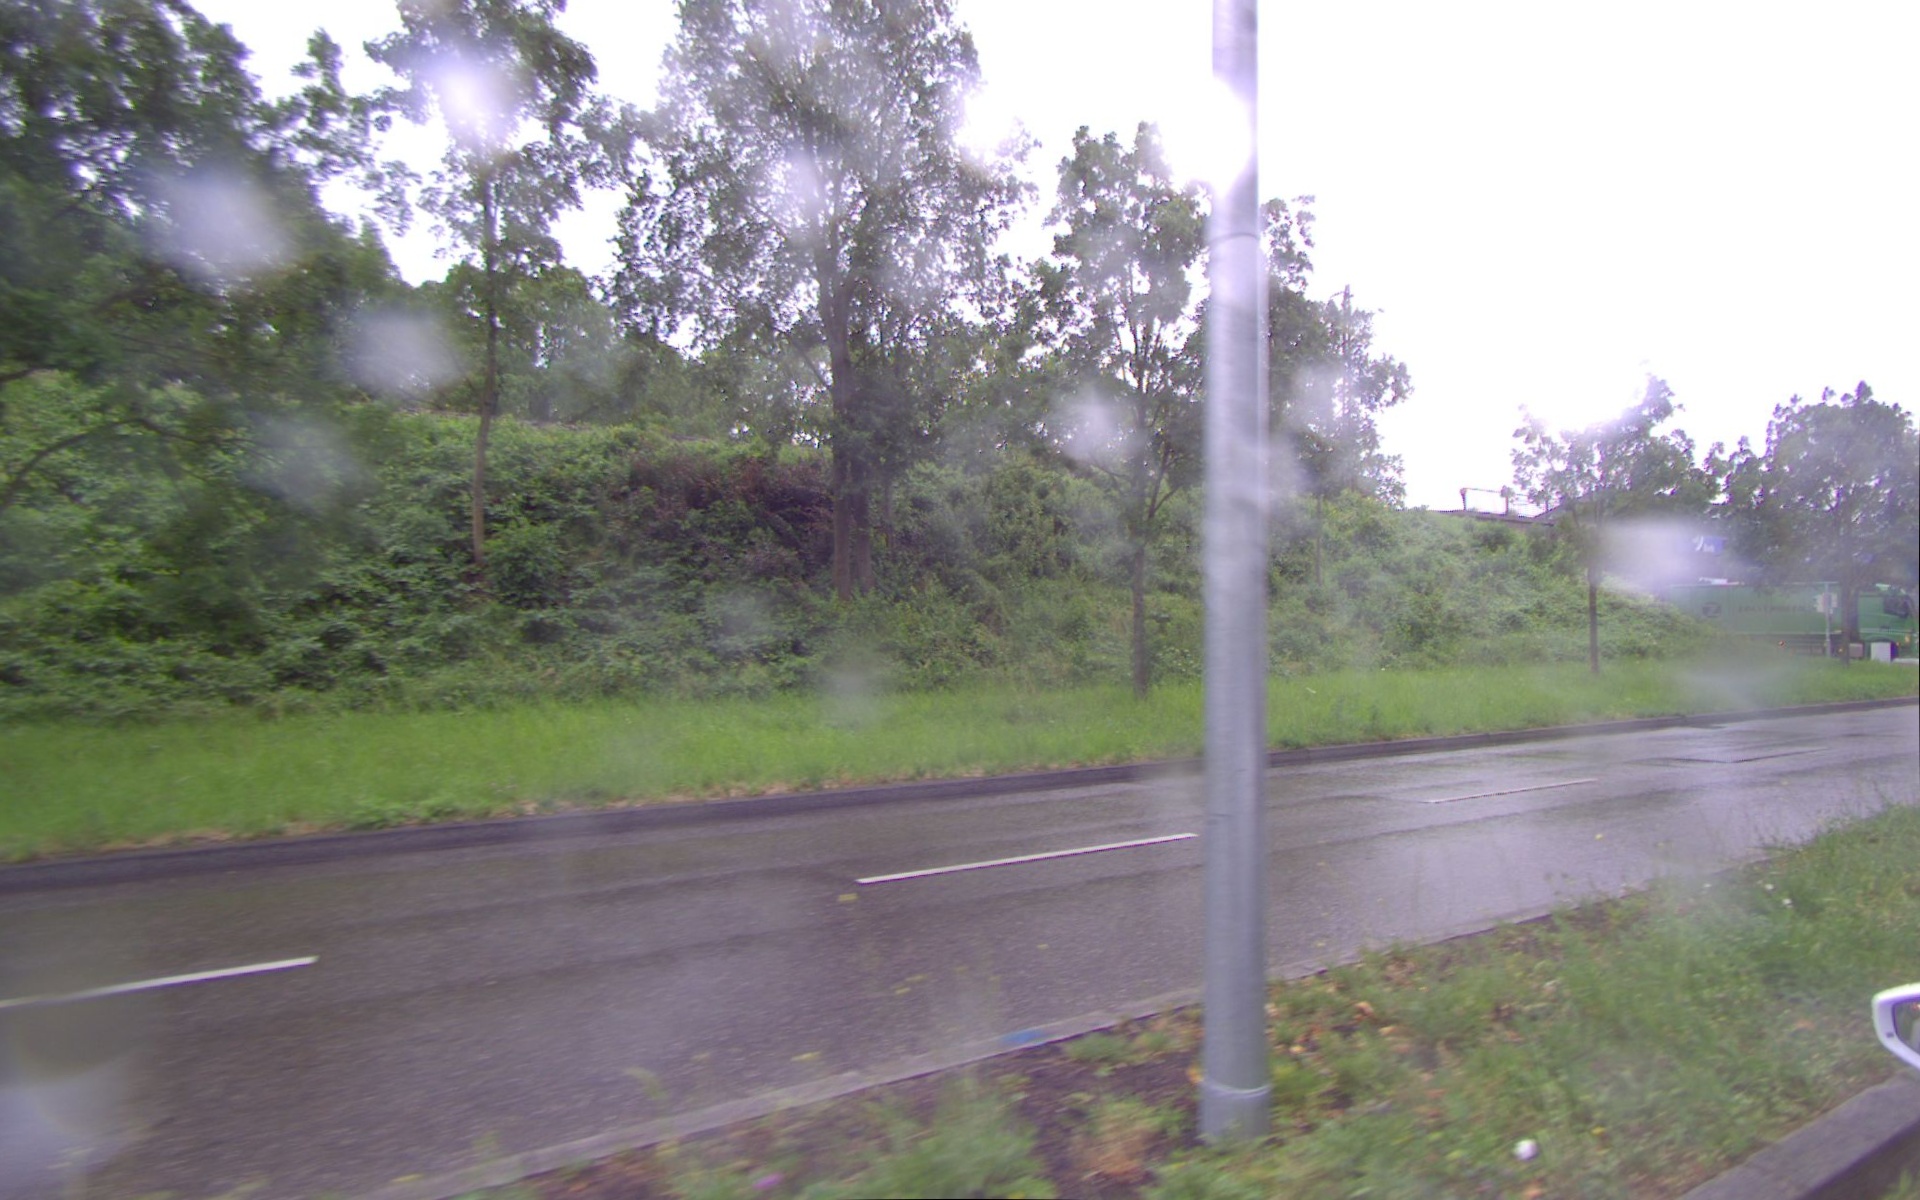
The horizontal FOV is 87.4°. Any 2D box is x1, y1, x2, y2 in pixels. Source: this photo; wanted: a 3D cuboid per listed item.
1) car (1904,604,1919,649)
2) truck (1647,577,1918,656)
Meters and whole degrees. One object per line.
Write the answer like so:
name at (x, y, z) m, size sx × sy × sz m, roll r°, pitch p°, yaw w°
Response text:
car at (63.169, 1.741, 62.633) m, size 5.905 × 2.780 × 1.999 m, roll 1°, pitch -1°, yaw 24°
truck at (40.348, 0.771, 49.789) m, size 9.947 × 3.497 × 2.657 m, roll 1°, pitch -1°, yaw 24°
